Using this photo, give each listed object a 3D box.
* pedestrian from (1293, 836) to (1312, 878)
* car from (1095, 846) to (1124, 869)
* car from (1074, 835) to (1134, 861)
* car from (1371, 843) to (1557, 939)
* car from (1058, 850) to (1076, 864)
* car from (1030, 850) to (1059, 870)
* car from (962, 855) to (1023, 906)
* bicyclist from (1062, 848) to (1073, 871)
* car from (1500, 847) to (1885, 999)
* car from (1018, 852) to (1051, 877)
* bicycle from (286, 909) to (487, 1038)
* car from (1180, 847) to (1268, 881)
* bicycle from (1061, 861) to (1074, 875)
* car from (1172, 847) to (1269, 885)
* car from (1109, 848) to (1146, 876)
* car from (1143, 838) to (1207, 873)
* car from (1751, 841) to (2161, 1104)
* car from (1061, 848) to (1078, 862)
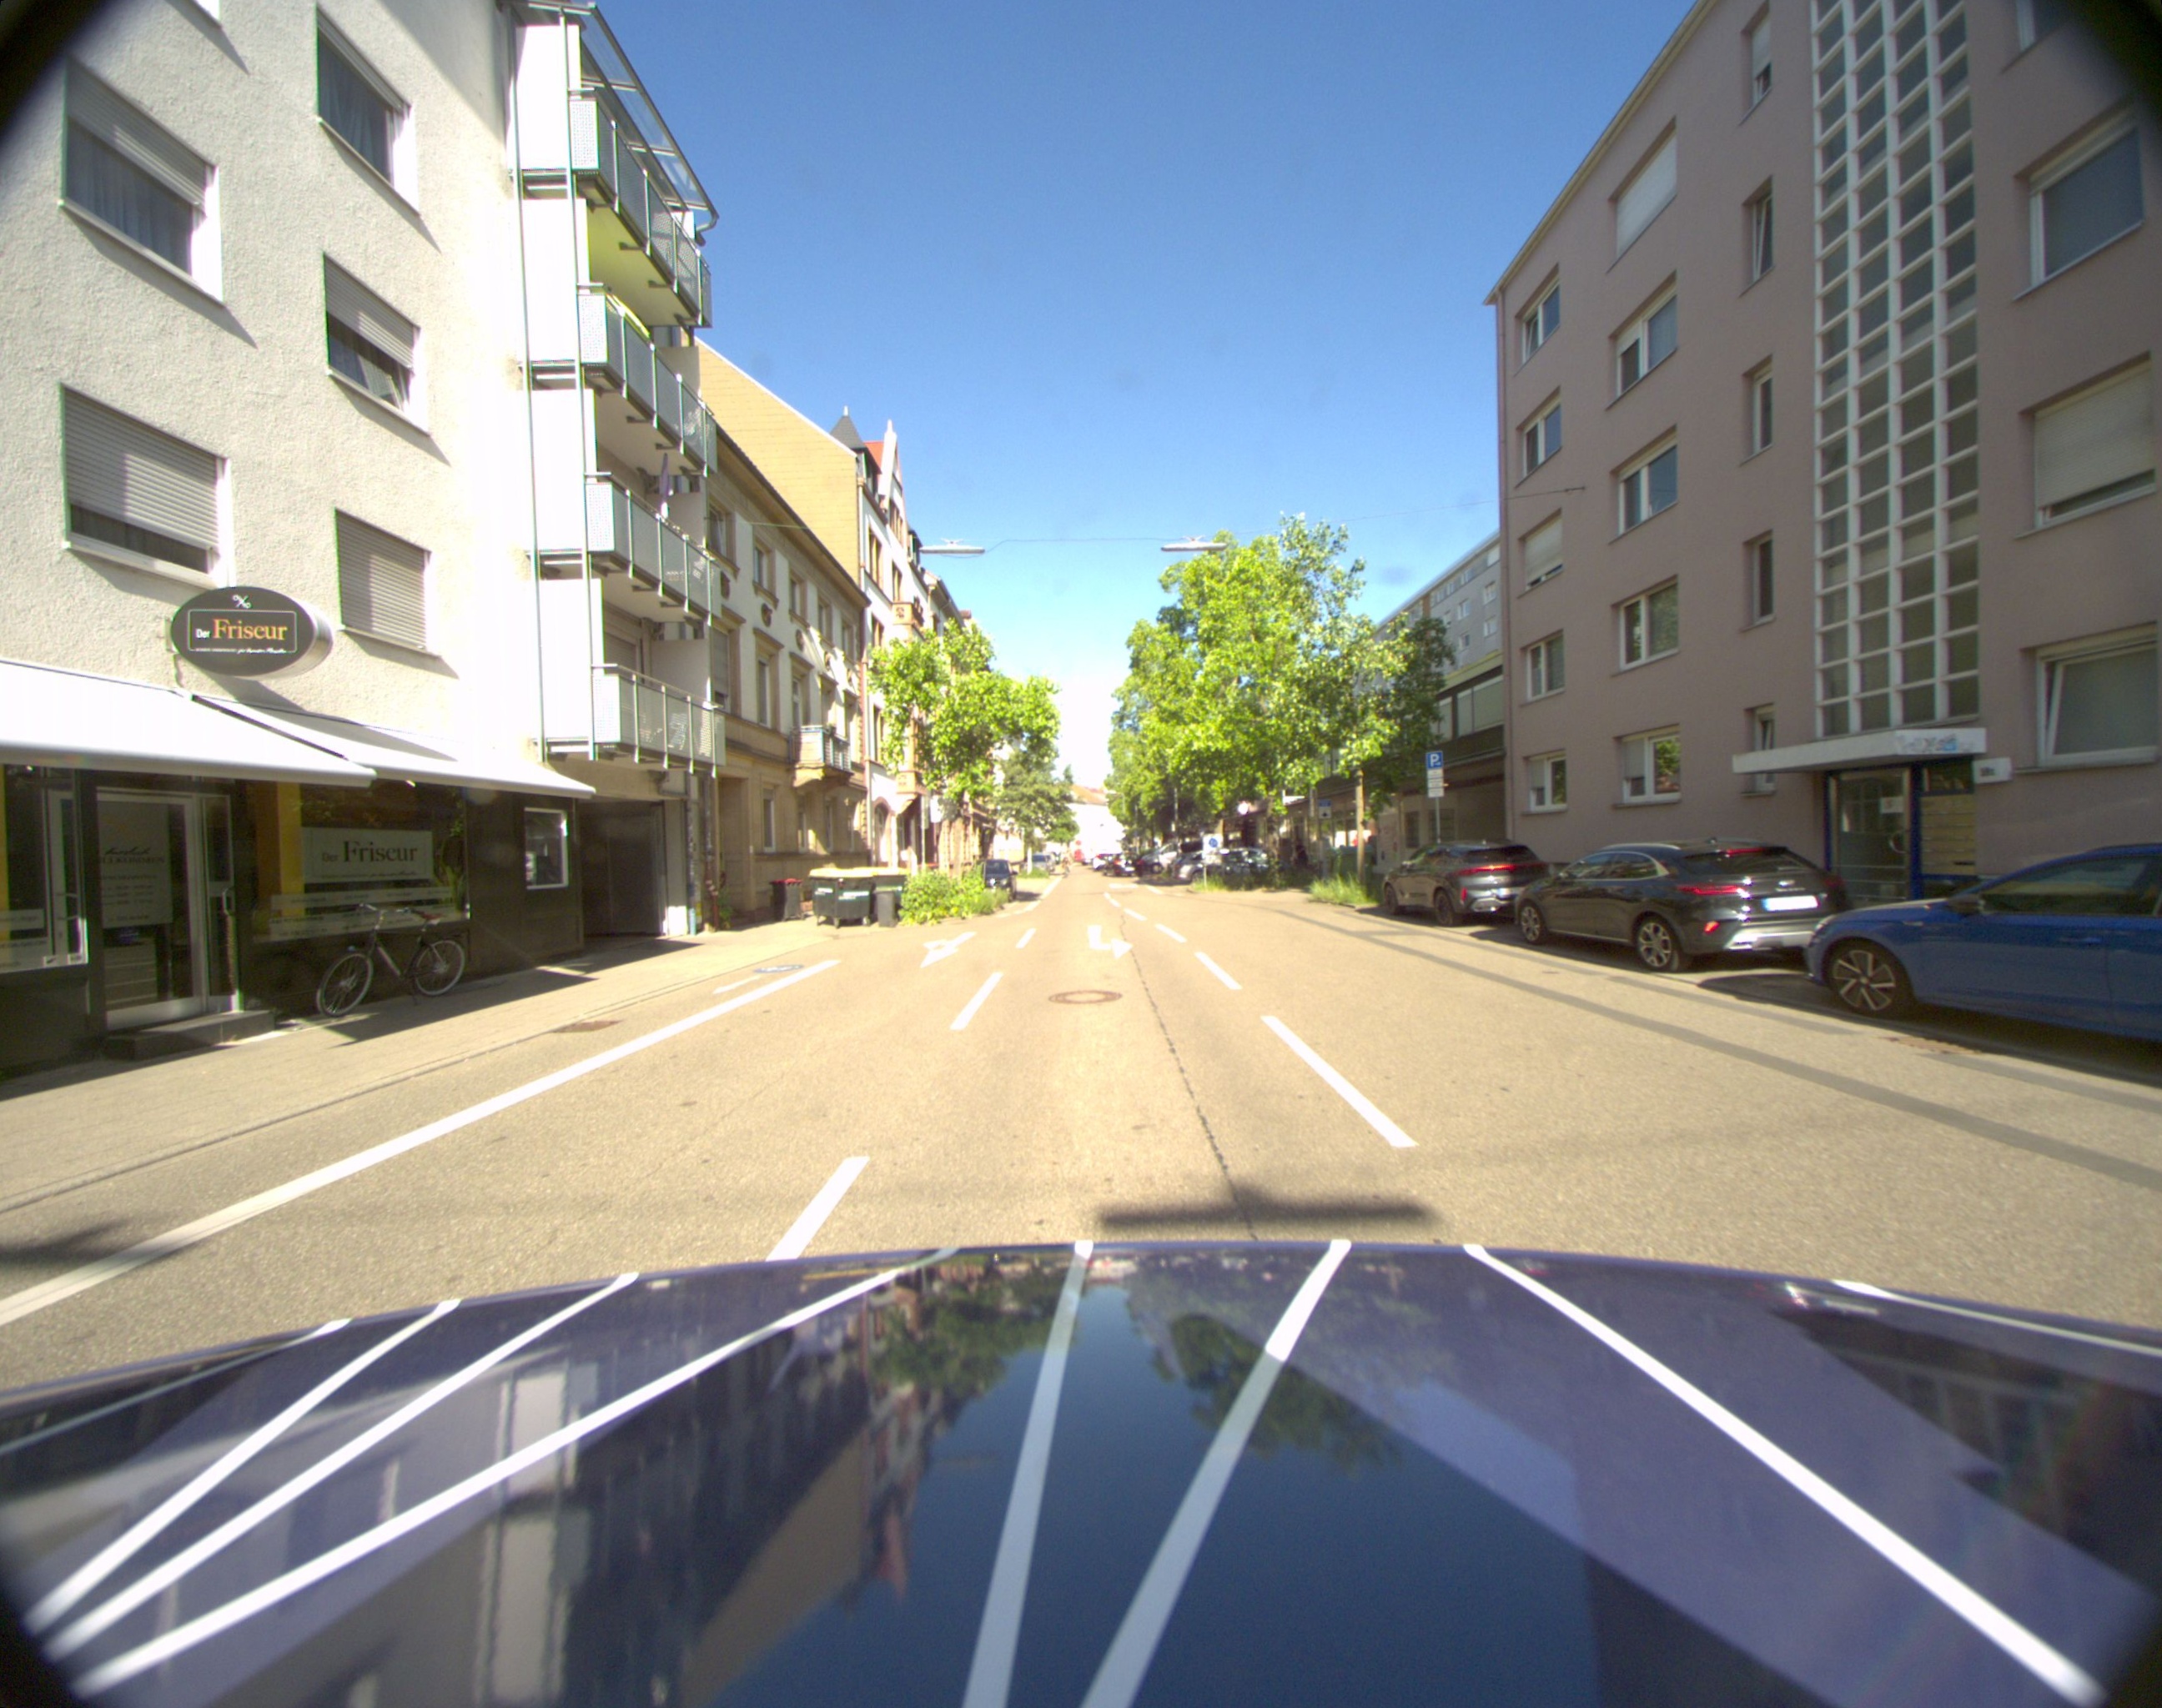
[{"bbox_3d":[9.799,0.127,33.618,0.623,1.796,0.502,-2,1,2],"label":"pedestrian"},{"bbox_3d":[2.050,0.244,55.693,1.911,1.543,3.999,-2,1,0],"label":"car"},{"bbox_3d":[2.240,-0.631,74.071,5.569,2.379,1.974,-2,1,-29],"label":"car"},{"bbox_3d":[7.501,0.632,15.395,1.727,1.567,4.157,-4,1,2],"label":"car"},{"bbox_3d":[-1.473,0.274,80.624,1.713,1.444,3.547,-2,1,2],"label":"car"},{"bbox_3d":[-2.779,0.456,58.552,1.914,1.444,3.546,-2,1,1],"label":"car"},{"bbox_3d":[-2.994,0.858,26.271,1.627,1.587,3.546,-2,1,1],"label":"car"},{"bbox_3d":[-0.833,0.353,46.235,0.582,1.369,0.665,-1,1,5],"label":"bicyclist"},{"bbox_3d":[7.456,0.701,9.925,1.727,1.459,4.157,-4,1,2],"label":"car"},{"bbox_3d":[-2.964,0.645,48.690,1.914,1.444,3.546,-2,1,-1],"label":"car"},{"bbox_3d":[-7.636,1.262,8.481,0.598,1.137,1.774,1,1,1],"label":"bicycle"},{"bbox_3d":[6.900,0.467,36.958,3.996,1.543,1.913,-2,1,3],"label":"car"},{"bbox_3d":[-0.817,0.865,46.285,0.582,0.801,1.710,-1,1,5],"label":"bicycle"},{"bbox_3d":[6.144,0.496,33.724,3.996,1.543,1.913,-2,1,3],"label":"car"},{"bbox_3d":[2.667,0.427,44.499,1.911,1.543,3.999,-2,1,0],"label":"car"},{"bbox_3d":[5.874,0.078,47.823,3.875,2.031,1.913,-2,1,3],"label":"car"},{"bbox_3d":[7.414,0.708,4.922,1.828,1.494,4.801,-4,0,-1],"label":"car"},{"bbox_3d":[-1.321,0.077,86.560,1.713,1.444,3.547,-2,1,2],"label":"car"}]
